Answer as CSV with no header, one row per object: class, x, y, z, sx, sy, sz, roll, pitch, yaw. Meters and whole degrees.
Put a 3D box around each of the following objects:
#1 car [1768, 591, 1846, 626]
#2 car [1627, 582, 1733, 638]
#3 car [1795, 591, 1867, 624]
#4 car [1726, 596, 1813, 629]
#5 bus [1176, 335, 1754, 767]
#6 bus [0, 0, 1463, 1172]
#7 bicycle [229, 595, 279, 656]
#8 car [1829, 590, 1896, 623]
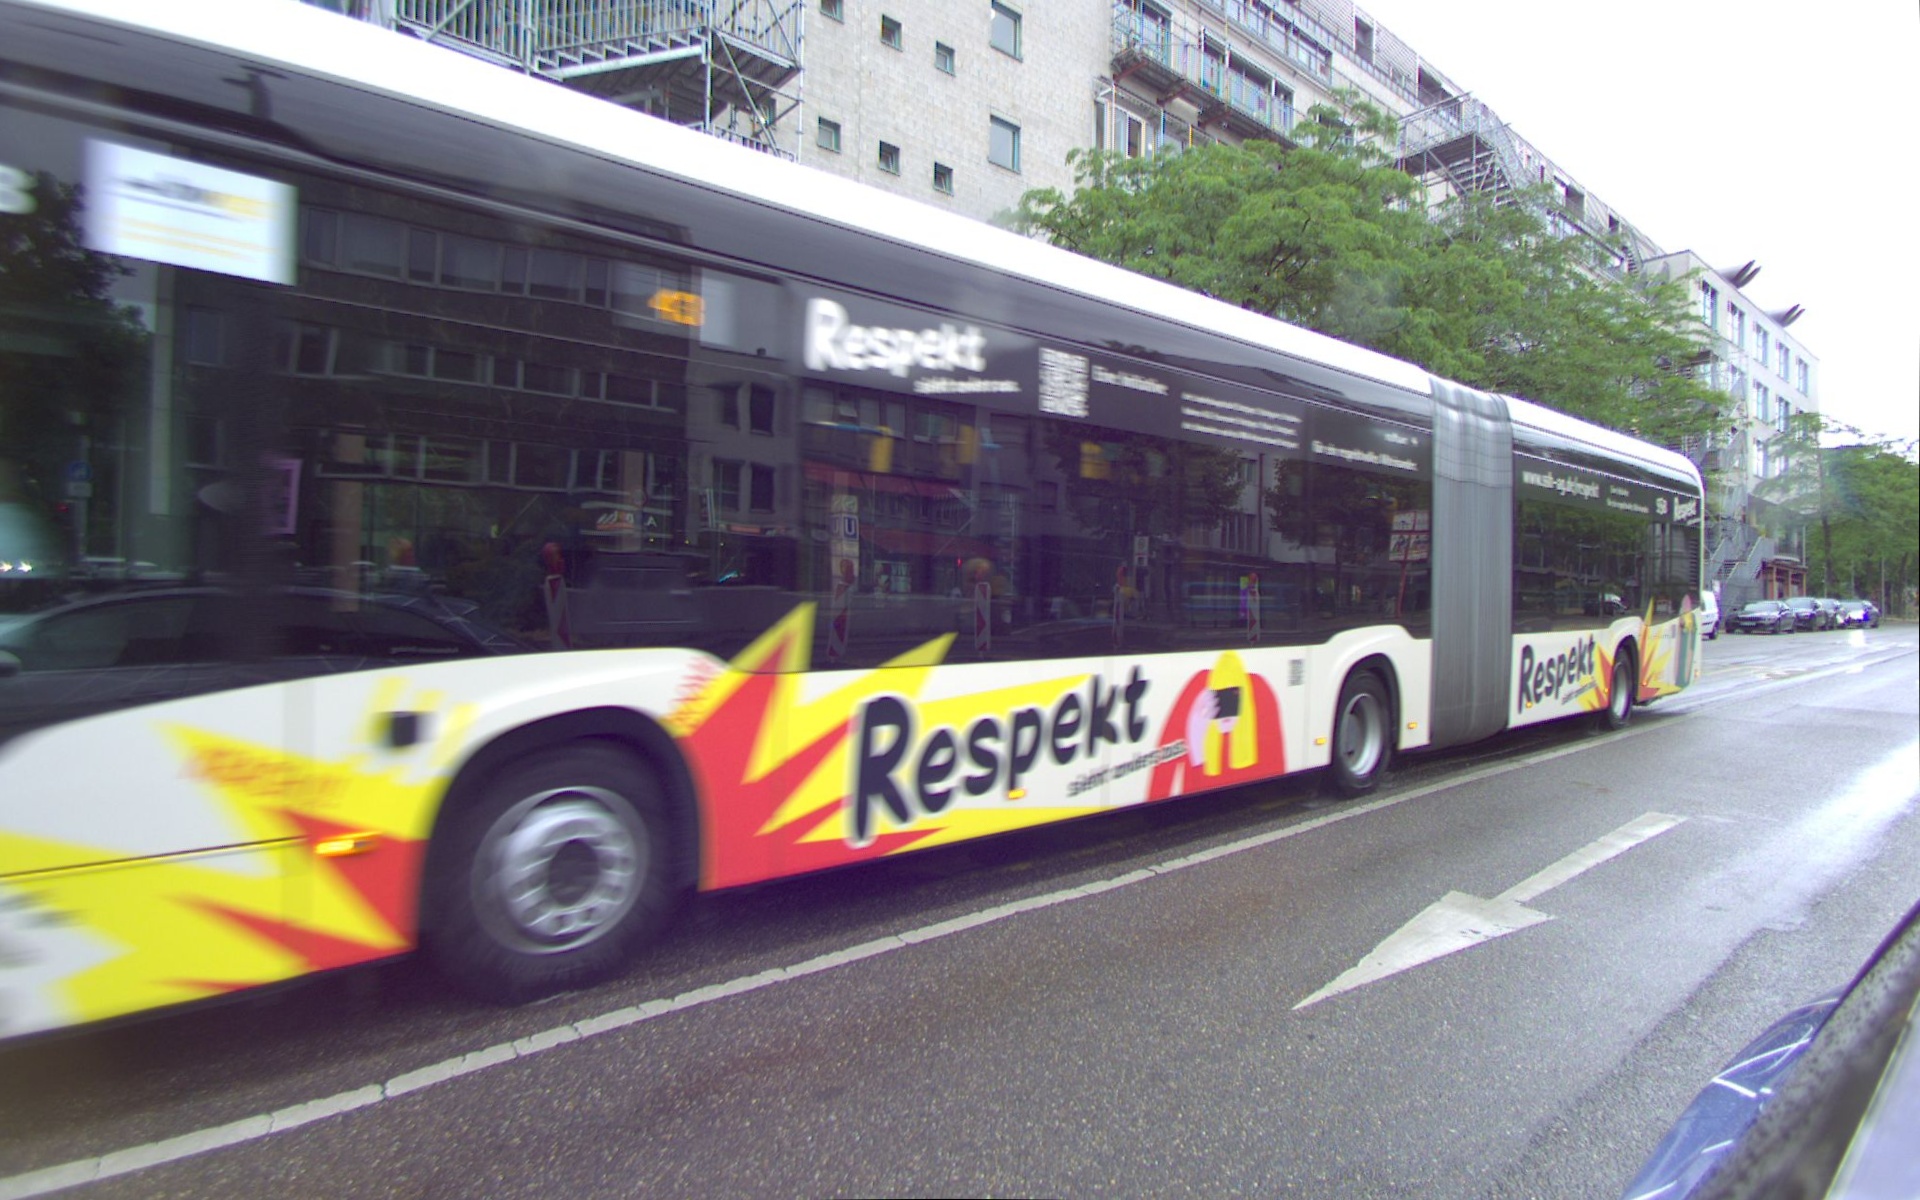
car,40.261,0.367,48.078,4.733,1.513,2.145,-1,1,-41
car,26.080,0.312,36.599,4.254,1.930,2.211,-1,0,-41
car,44.372,0.337,51.539,4.733,1.580,2.145,-1,1,-41
car,35.105,0.502,43.827,4.733,1.353,2.145,-1,1,-41
bus,6.757,-0.451,12.389,9.541,3.483,2.888,-1,0,-41
bus,-0.530,-0.361,6.080,9.586,3.494,2.888,-1,0,-41
bicycle,-14.531,0.505,20.815,0.577,1.209,1.611,0,0,-44
car,48.945,0.324,54.864,4.733,1.667,2.145,-1,1,-41
